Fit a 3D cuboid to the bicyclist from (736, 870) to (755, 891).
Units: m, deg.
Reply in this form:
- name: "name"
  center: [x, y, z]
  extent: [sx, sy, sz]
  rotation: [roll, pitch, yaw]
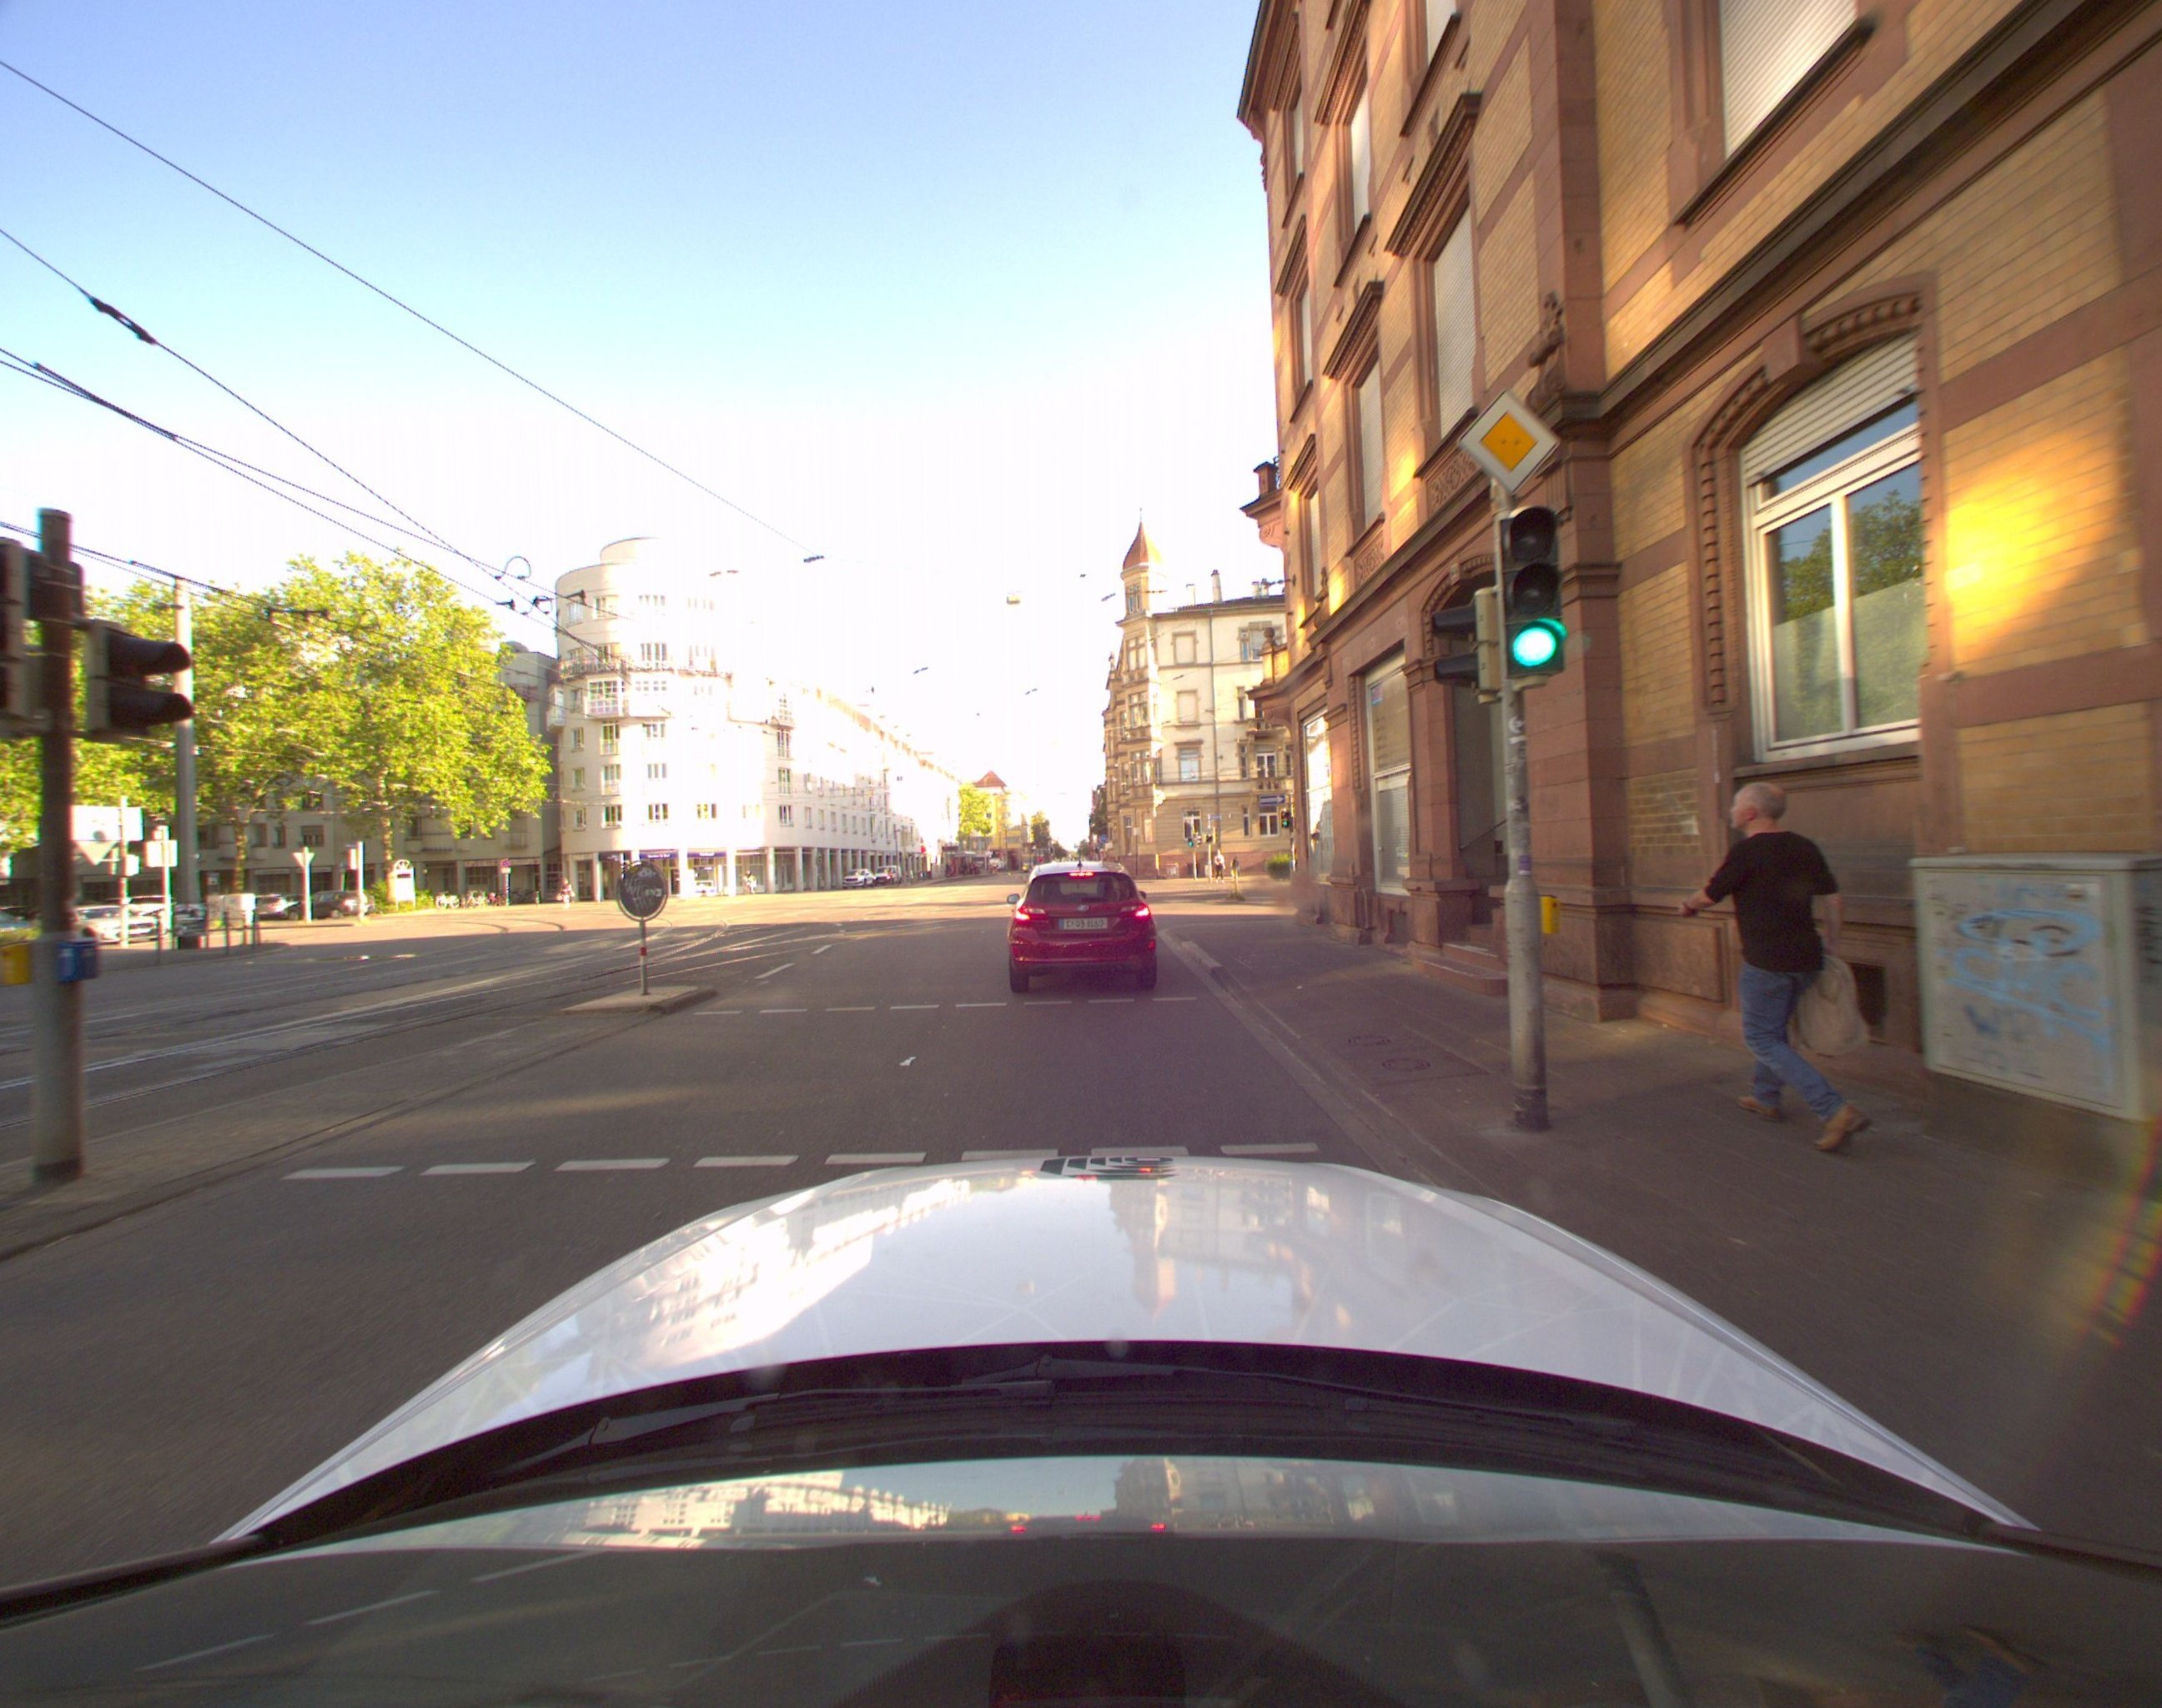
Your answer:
- name: "bicyclist"
  center: [-23.824, 1.871, 57.868]
  extent: [0.836, 1.467, 0.898]
  rotation: [-3, 0, 6]

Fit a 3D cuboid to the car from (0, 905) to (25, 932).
- name: "car"
  center: [-71.453, 4.270, 52.399]
  extent: [1.789, 1.715, 3.997]
  rotation: [-3, -1, -1]

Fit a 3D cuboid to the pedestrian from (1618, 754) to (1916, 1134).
- name: "pedestrian"
  center: [3.456, 0.421, 4.185]
  extent: [0.773, 1.723, 0.754]
  rotation: [-4, -1, 0]

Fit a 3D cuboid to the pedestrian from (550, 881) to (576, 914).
- name: "pedestrian"
  center: [-28.248, 2.356, 44.425]
  extent: [0.863, 1.681, 0.698]
  rotation: [-4, 1, 8]

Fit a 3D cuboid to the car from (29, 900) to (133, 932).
- name: "car"
  center: [-64.535, 3.959, 52.683]
  extent: [1.789, 1.715, 3.997]
  rotation: [-3, -1, -1]

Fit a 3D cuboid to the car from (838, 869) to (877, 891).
- name: "car"
  center: [-18.795, 2.152, 68.637]
  extent: [1.987, 1.620, 4.509]
  rotation: [-3, 0, -1]

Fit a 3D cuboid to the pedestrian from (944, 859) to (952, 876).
- name: "pedestrian"
  center: [-13.635, 1.388, 83.471]
  extent: [0.597, 1.691, 0.613]
  rotation: [-2, -1, 0]

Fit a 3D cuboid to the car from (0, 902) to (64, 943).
- name: "car"
  center: [-42.593, 2.757, 31.882]
  extent: [4.407, 1.421, 1.899]
  rotation: [-4, -1, 16]

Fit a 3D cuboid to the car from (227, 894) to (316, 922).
- name: "car"
  center: [-52.419, 3.494, 52.844]
  extent: [1.789, 1.510, 3.997]
  rotation: [-3, -1, -1]

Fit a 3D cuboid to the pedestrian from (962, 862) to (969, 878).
- name: "pedestrian"
  center: [-13.376, 1.847, 94.091]
  extent: [0.694, 1.904, 0.671]
  rotation: [-2, -1, -3]

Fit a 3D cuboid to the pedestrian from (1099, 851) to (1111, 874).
- name: "pedestrian"
  center: [1.885, 0.701, 63.397]
  extent: [0.792, 1.721, 0.719]
  rotation: [-4, -2, -2]

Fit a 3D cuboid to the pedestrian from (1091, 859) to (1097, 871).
- name: "pedestrian"
  center: [2.105, 1.762, 128.714]
  extent: [0.712, 1.774, 0.772]
  rotation: [-5, 0, -3]

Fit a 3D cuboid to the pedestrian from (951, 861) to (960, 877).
- name: "pedestrian"
  center: [-13.820, 1.690, 89.604]
  extent: [0.699, 1.691, 0.667]
  rotation: [-2, -1, -24]

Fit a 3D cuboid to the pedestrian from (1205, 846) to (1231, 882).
- name: "pedestrian"
  center: [7.106, 0.503, 42.168]
  extent: [1.021, 1.807, 1.082]
  rotation: [-3, 0, -4]

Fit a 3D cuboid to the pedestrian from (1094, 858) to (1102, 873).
- name: "pedestrian"
  center: [1.982, 1.313, 94.381]
  extent: [0.760, 1.645, 0.832]
  rotation: [-4, 0, -1]

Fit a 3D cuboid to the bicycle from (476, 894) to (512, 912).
- name: "bicycle"
  center: [-40.761, 3.402, 56.571]
  extent: [1.933, 1.107, 0.820]
  rotation: [-3, 0, 4]

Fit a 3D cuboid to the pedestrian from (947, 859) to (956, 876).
- name: "pedestrian"
  center: [-13.635, 1.421, 85.514]
  extent: [0.756, 1.733, 0.523]
  rotation: [-3, -1, 41]

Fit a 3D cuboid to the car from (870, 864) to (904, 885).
- name: "car"
  center: [-18.826, 1.986, 79.304]
  extent: [1.987, 1.837, 5.345]
  rotation: [-3, 0, -1]

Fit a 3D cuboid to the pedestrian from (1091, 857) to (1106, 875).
- name: "pedestrian"
  center: [1.359, 0.925, 62.738]
  extent: [0.798, 1.331, 0.713]
  rotation: [-3, -2, -25]

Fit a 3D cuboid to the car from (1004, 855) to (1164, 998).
- name: "car"
  center: [0.004, 0.784, 10.490]
  extent: [1.687, 1.495, 3.578]
  rotation: [-1, -1, -1]

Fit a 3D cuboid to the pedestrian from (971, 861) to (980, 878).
- name: "pedestrian"
  center: [-12.384, 1.851, 95.450]
  extent: [0.929, 1.904, 0.880]
  rotation: [-2, -1, -3]

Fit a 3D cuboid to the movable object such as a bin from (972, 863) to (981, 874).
- name: "movable object such as a bin"
  center: [-13.062, 1.787, 101.987]
  extent: [0.935, 1.286, 0.934]
  rotation: [-2, -1, -2]

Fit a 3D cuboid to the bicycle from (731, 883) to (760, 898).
- name: "bicycle"
  center: [-23.801, 2.585, 57.786]
  extent: [0.836, 0.927, 2.269]
  rotation: [-3, 0, 6]

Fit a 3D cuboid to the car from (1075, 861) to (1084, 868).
- name: "car"
  center: [-0.309, 2.443, 186.438]
  extent: [1.987, 1.449, 3.999]
  rotation: [-2, 0, 0]

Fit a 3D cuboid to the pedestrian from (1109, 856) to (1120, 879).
- name: "pedestrian"
  center: [2.786, 1.111, 68.052]
  extent: [0.798, 1.824, 0.797]
  rotation: [-4, 0, -1]

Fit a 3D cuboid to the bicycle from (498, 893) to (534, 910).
- name: "bicycle"
  center: [-40.774, 3.404, 58.789]
  extent: [1.934, 1.107, 0.819]
  rotation: [-3, 0, 2]

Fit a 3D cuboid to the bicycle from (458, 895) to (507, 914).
- name: "bicycle"
  center: [-40.377, 3.373, 54.925]
  extent: [2.439, 1.107, 0.933]
  rotation: [-3, 0, -14]

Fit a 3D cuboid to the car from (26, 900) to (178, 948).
- name: "car"
  center: [-35.862, 2.561, 29.858]
  extent: [4.407, 1.421, 1.899]
  rotation: [-4, -1, 16]

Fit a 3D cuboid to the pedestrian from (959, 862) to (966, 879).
- name: "pedestrian"
  center: [-13.542, 1.836, 93.276]
  extent: [0.694, 1.904, 0.671]
  rotation: [-2, -1, -3]

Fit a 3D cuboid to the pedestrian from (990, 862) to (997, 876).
- name: "pedestrian"
  center: [-12.672, 2.192, 117.820]
  extent: [0.880, 1.904, 0.929]
  rotation: [-2, -1, -16]

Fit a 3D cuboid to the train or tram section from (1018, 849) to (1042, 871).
- name: "train or tram section"
  center: [-8.847, 1.011, 141.840]
  extent: [2.875, 3.490, 14.169]
  rotation: [-3, 0, 1]

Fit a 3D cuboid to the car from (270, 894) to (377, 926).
- name: "car"
  center: [-43.656, 3.216, 47.001]
  extent: [4.422, 1.421, 1.893]
  rotation: [-3, 0, 3]

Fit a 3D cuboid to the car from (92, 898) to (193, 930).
- name: "car"
  center: [-59.543, 3.749, 51.757]
  extent: [1.789, 1.715, 3.997]
  rotation: [-3, -1, -1]

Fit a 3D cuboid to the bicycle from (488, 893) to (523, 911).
- name: "bicycle"
  center: [-40.675, 3.400, 57.559]
  extent: [1.933, 1.107, 0.820]
  rotation: [-3, 0, 4]

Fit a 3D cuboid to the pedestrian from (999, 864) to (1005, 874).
- name: "pedestrian"
  center: [-14.407, 2.773, 149.388]
  extent: [0.880, 1.904, 0.929]
  rotation: [-2, -1, -16]

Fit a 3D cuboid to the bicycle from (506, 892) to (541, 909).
- name: "bicycle"
  center: [-40.840, 3.407, 59.656]
  extent: [1.934, 1.107, 0.819]
  rotation: [-3, 0, 2]
